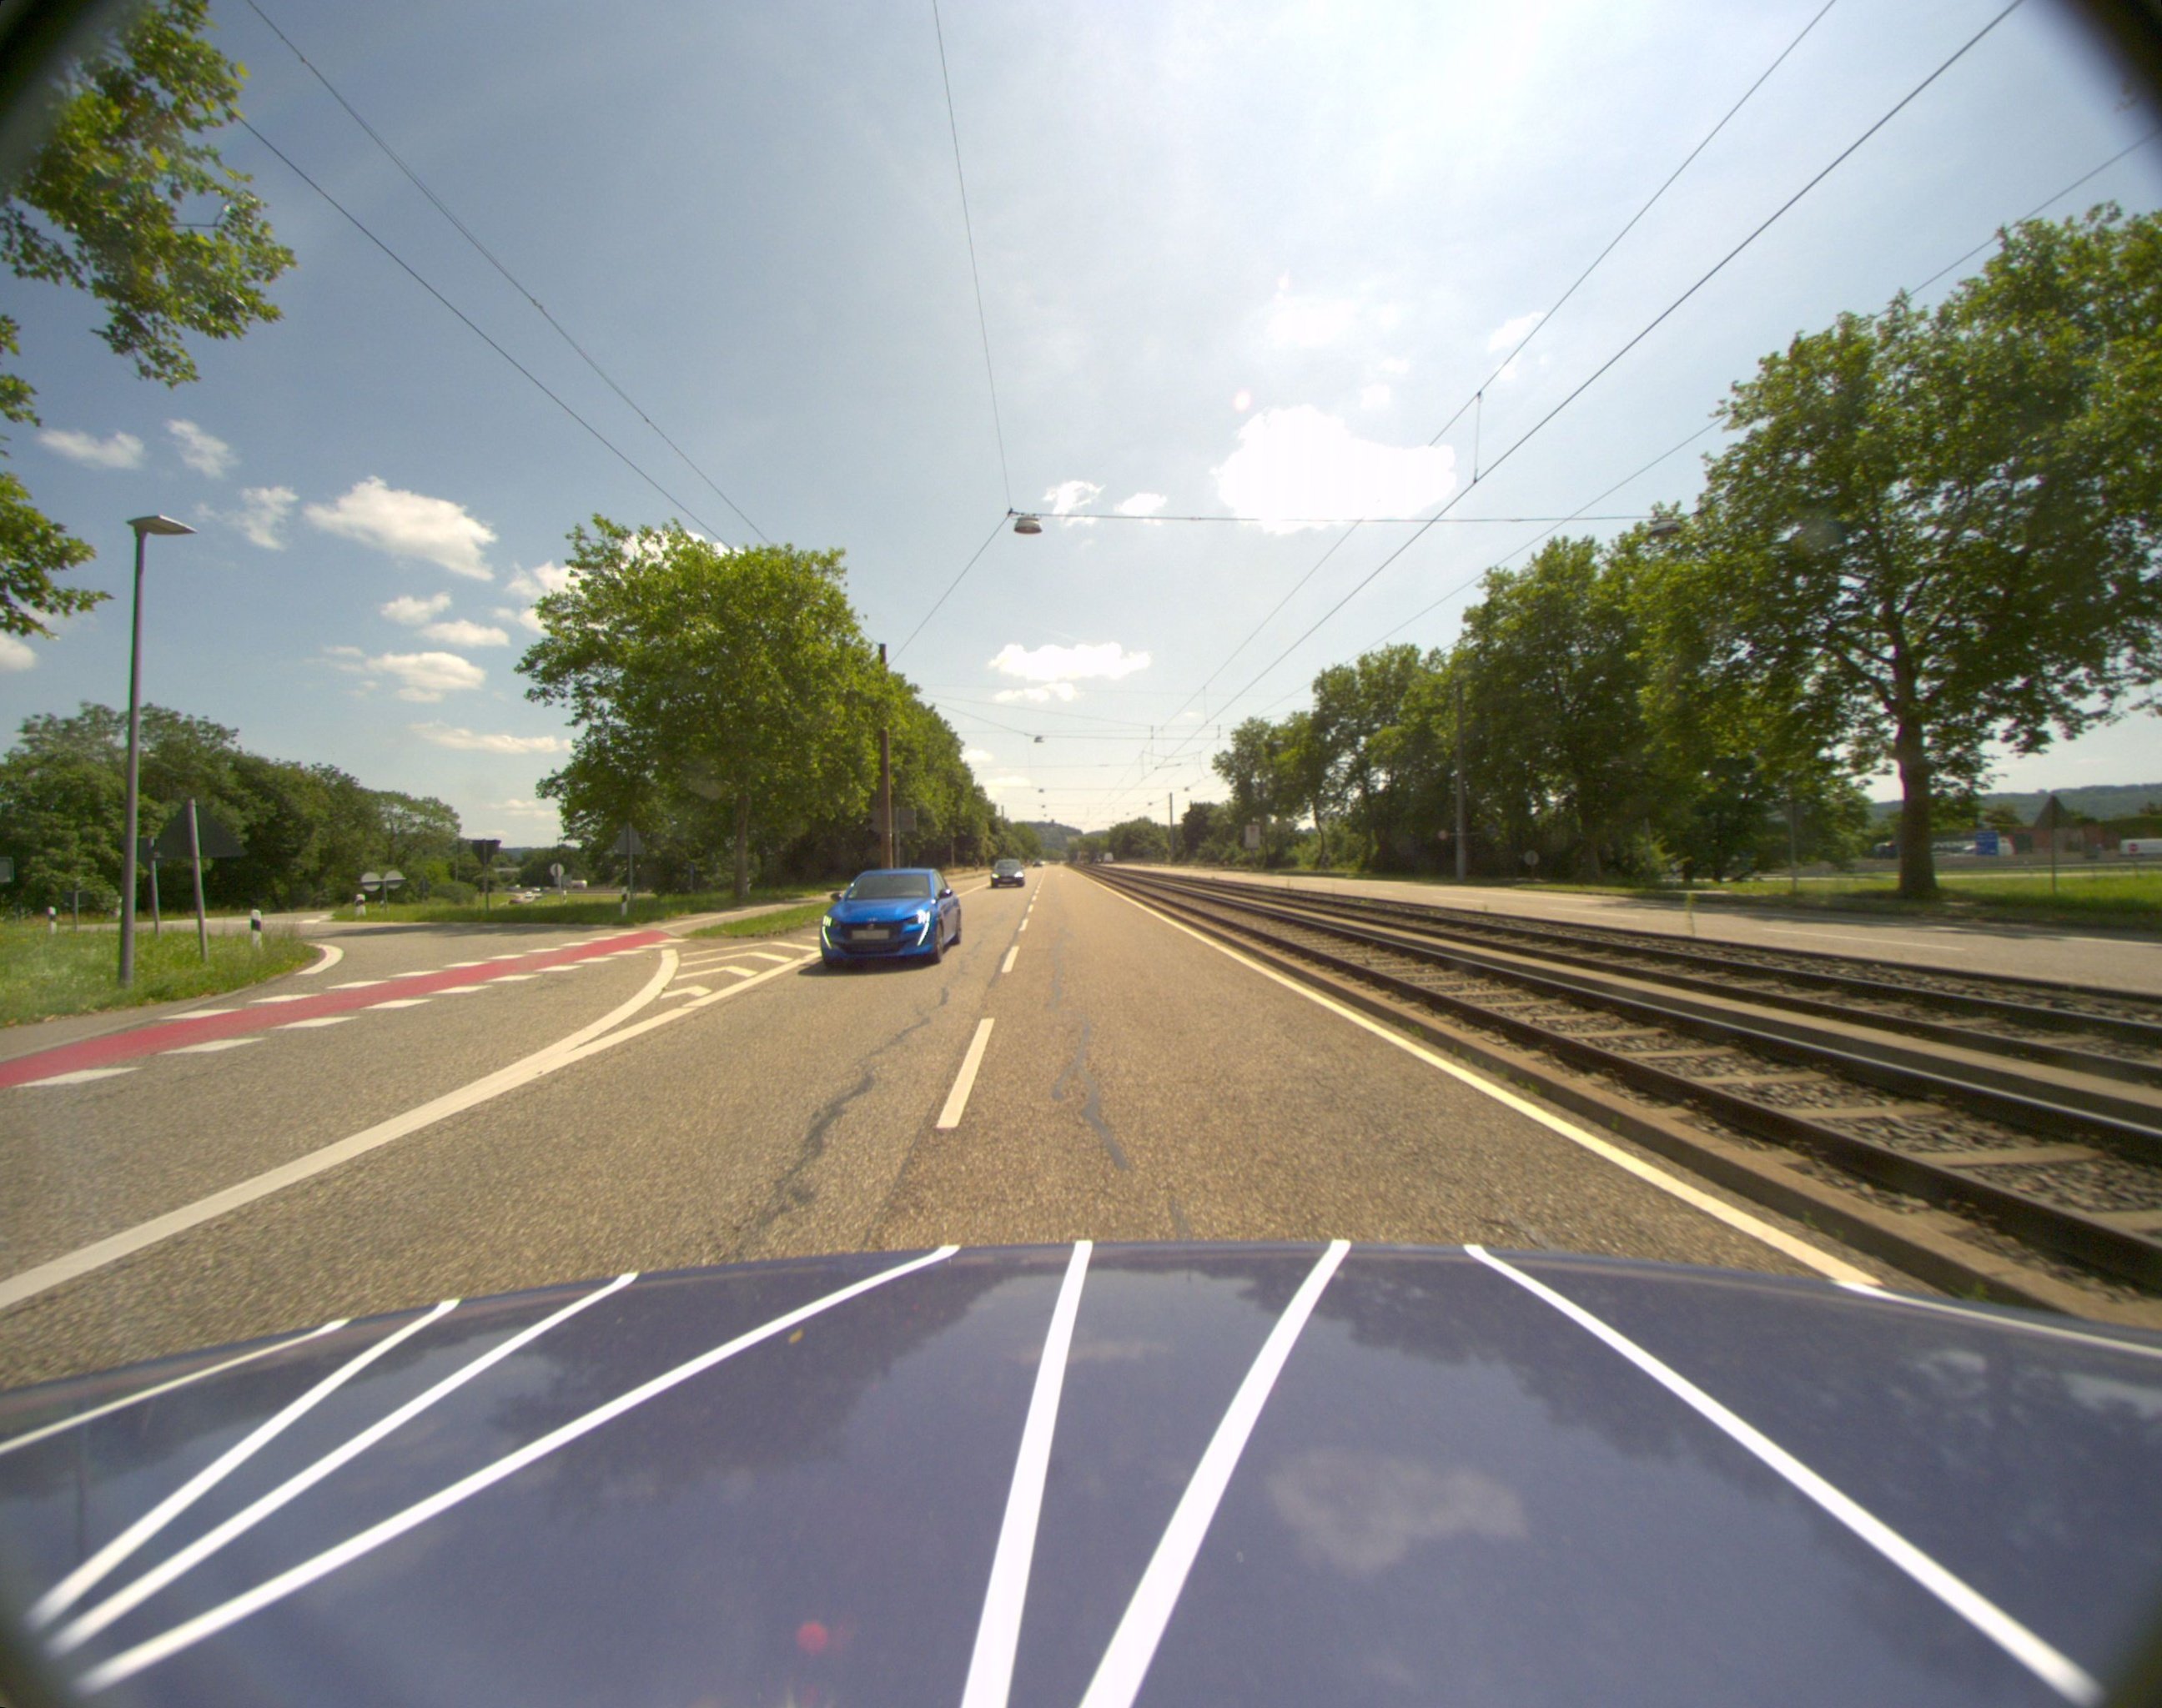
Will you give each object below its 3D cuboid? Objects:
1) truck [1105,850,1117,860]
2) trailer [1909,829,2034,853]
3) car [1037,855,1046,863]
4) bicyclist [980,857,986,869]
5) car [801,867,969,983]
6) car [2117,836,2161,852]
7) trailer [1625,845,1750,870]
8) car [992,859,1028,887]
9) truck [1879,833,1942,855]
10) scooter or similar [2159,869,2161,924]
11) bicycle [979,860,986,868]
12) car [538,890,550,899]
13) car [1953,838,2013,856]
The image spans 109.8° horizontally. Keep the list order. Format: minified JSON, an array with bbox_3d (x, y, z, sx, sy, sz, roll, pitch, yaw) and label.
[{"bbox_3d":[7.703,0.177,196.918,2.333,2.566,6.619,-1,0,-3],"label":"truck"},{"bbox_3d":[140.288,-2.006,120.001,12.347,3.420,3.344,-1,0,28],"label":"trailer"},{"bbox_3d":[-7.537,1.006,145.205,1.771,1.422,3.999,-1,0,-2],"label":"car"},{"bbox_3d":[-12.702,1.144,98.231,0.607,1.465,0.946,-1,0,-1],"label":"bicyclist"},{"bbox_3d":[-3.036,1.021,12.748,1.771,1.463,4.466,-2,0,-2],"label":"car"},{"bbox_3d":[140.092,-1.284,99.165,5.574,2.002,2.003,-1,0,25],"label":"car"},{"bbox_3d":[94.627,0.566,119.051,14.785,3.407,3.142,-3,-1,28],"label":"trailer"},{"bbox_3d":[-3.970,1.054,43.107,1.771,1.422,3.999,-2,0,-2],"label":"car"},{"bbox_3d":[134.380,-1.634,123.181,6.125,3.362,3.336,-1,0,28],"label":"truck"},{"bbox_3d":[22.807,0.882,15.281,0.462,1.144,1.235,-2,0,-4],"label":"scooter or similar"},{"bbox_3d":[-12.711,1.298,98.080,0.607,0.904,1.892,-1,0,-1],"label":"bicycle"},{"bbox_3d":[-133.507,9.954,189.005,2.003,2.002,4.553,-1,0,-30],"label":"car"},{"bbox_3d":[138.522,-1.064,116.785,5.557,2.490,2.226,-1,0,28],"label":"car"}]
